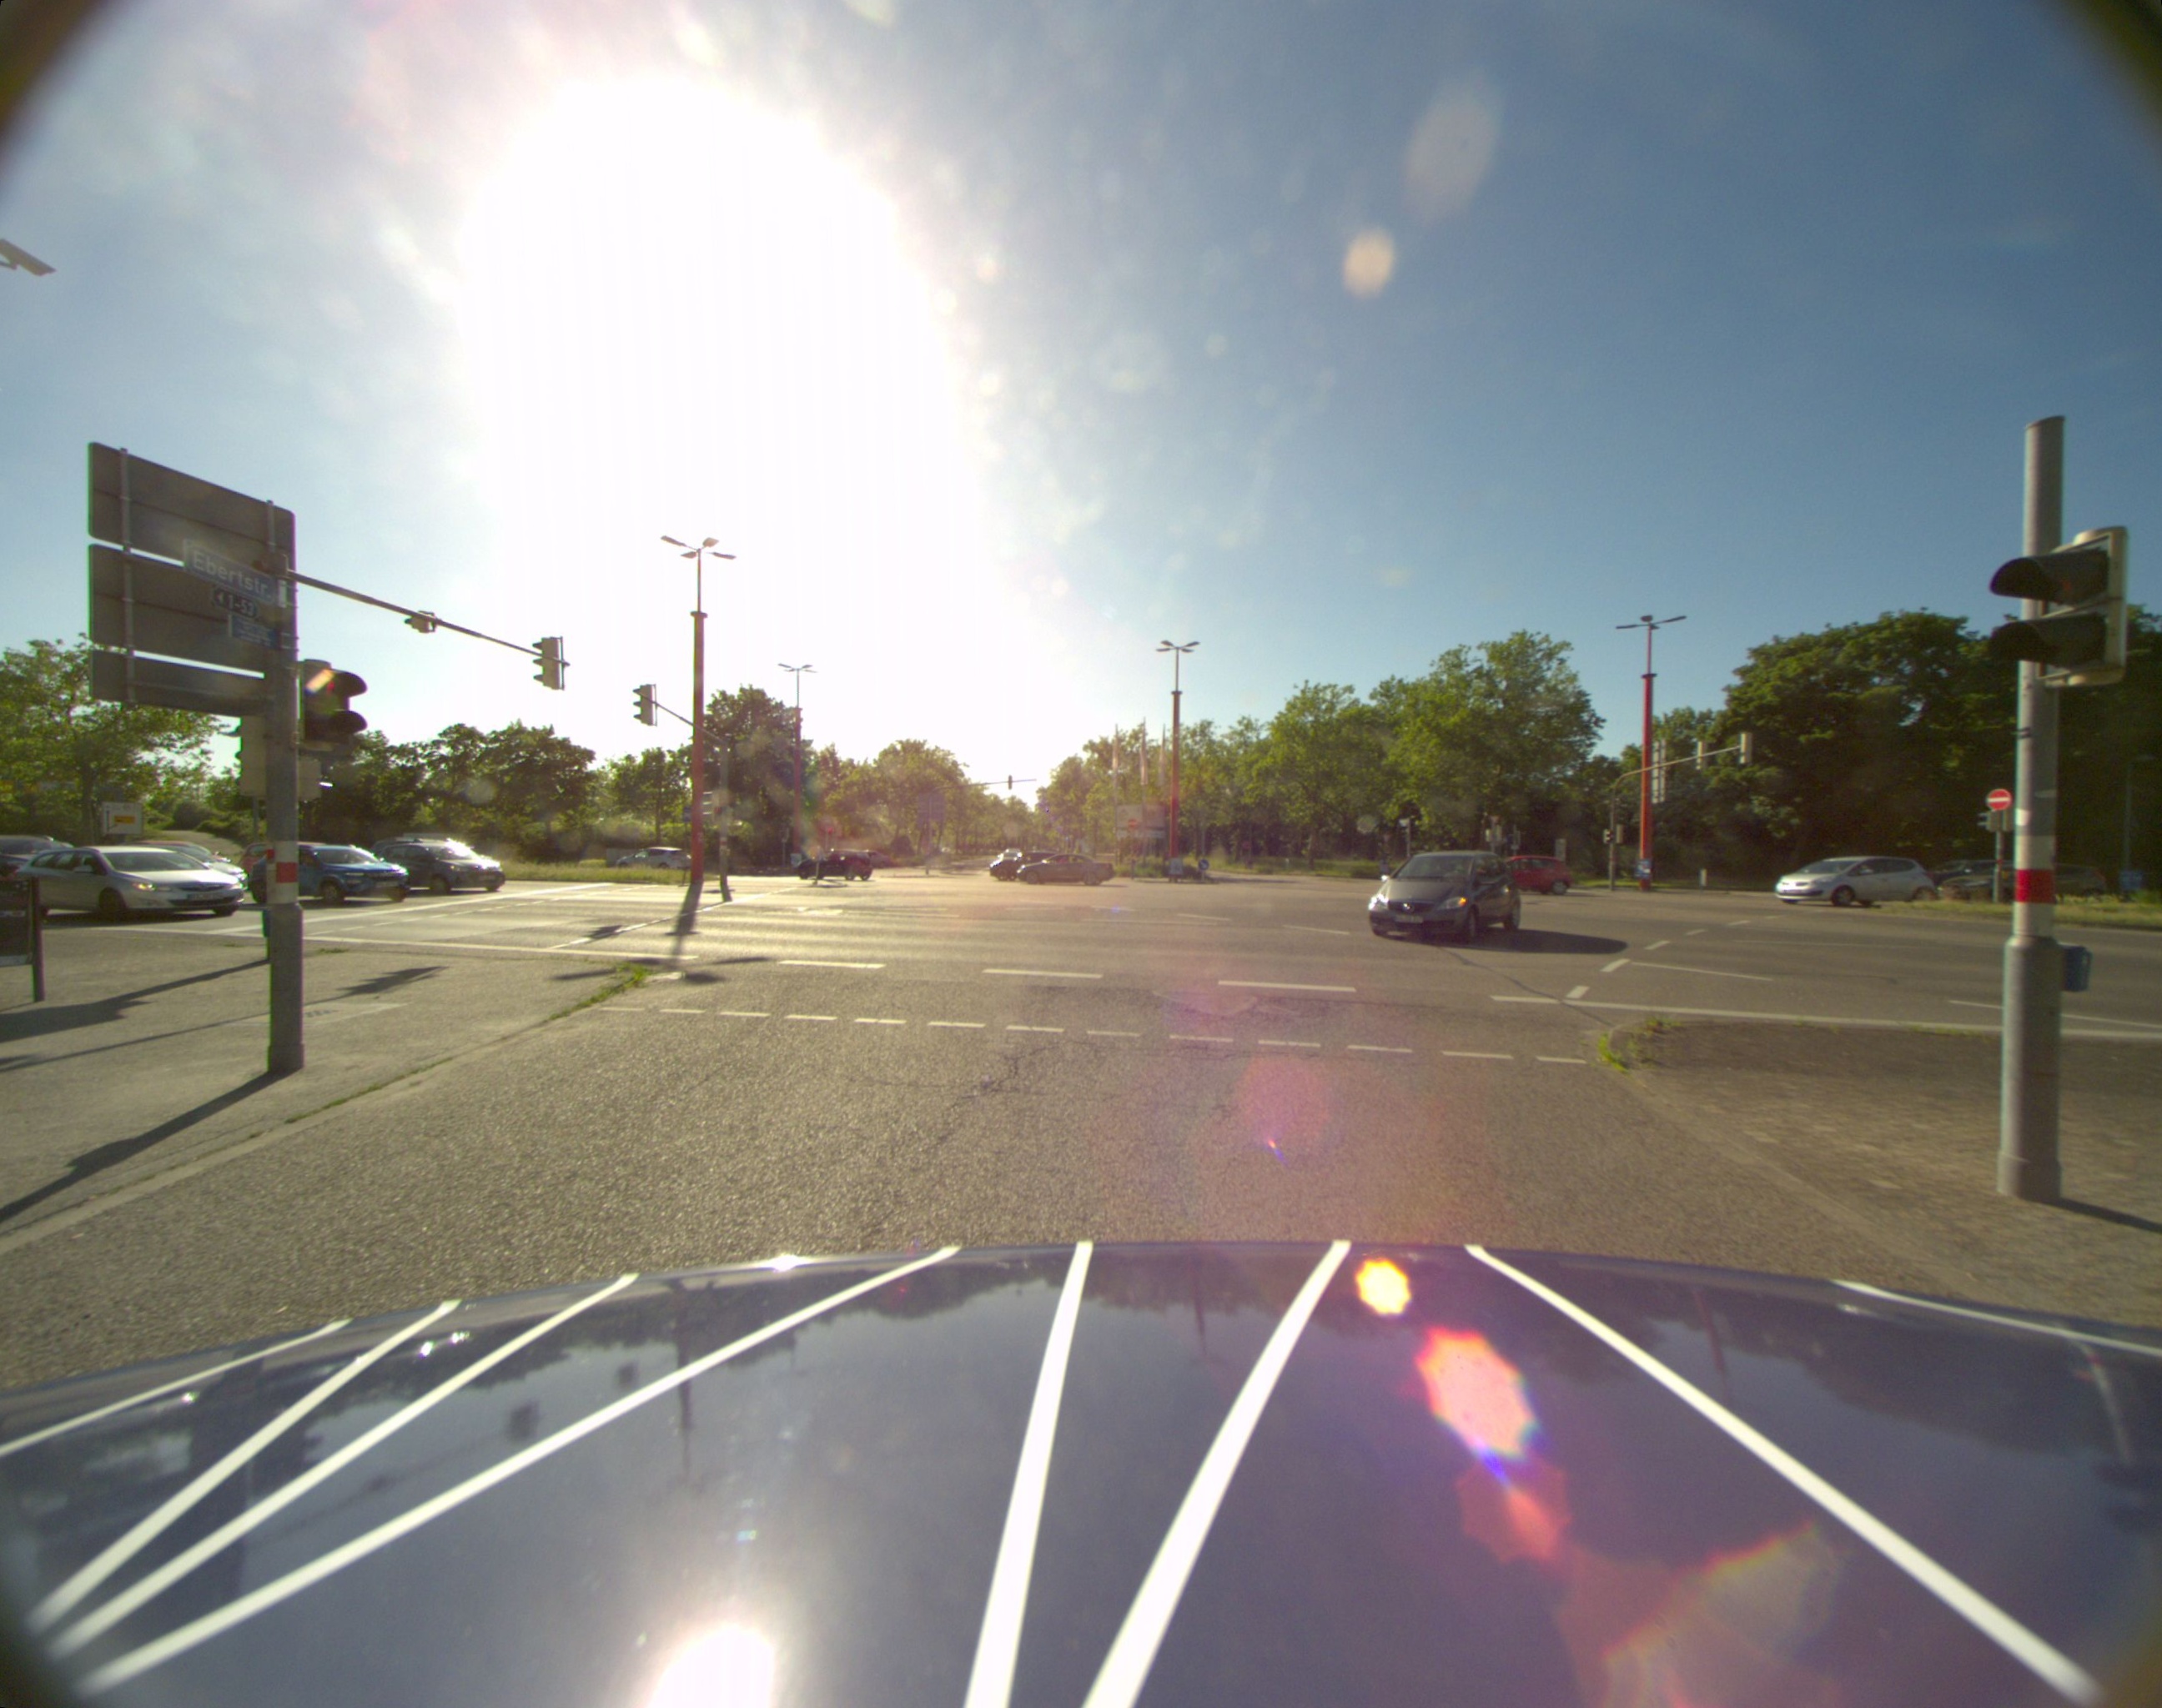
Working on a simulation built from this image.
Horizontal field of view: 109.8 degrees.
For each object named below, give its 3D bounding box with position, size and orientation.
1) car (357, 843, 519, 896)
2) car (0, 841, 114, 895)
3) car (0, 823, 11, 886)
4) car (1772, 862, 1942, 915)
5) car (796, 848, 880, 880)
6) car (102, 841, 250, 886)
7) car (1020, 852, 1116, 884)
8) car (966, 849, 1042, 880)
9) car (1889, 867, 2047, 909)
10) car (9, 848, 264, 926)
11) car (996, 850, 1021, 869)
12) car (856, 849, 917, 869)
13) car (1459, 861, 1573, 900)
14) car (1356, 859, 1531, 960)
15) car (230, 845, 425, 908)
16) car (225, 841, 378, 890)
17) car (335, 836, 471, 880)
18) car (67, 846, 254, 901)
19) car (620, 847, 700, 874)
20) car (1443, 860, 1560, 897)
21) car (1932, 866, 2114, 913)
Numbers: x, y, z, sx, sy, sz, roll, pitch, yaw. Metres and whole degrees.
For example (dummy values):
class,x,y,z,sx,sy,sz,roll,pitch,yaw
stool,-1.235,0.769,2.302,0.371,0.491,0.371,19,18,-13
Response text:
class,x,y,z,sx,sy,sz,roll,pitch,yaw
car,-19.708,0.435,23.340,3.992,1.473,1.802,1,2,15
car,-31.796,0.385,22.906,3.992,1.497,1.802,1,2,15
car,-38.386,0.011,24.914,5.183,2.075,2.094,1,2,15
car,24.761,1.077,24.324,3.903,1.579,1.704,1,0,-5
car,-11.689,0.460,36.620,3.531,1.421,1.615,1,0,12
car,-31.858,0.282,26.780,3.992,1.473,1.802,1,2,15
car,-0.553,0.607,34.151,3.992,1.361,1.802,1,0,14
car,-3.935,0.519,38.925,3.532,1.497,1.615,1,0,11
car,34.507,1.291,29.655,3.779,1.497,1.615,1,0,13
car,-20.106,0.631,16.224,4.277,1.473,1.802,1,2,15
car,-5.952,0.452,62.595,1.799,1.501,3.999,1,0,-1
car,-14.917,0.363,58.628,1.795,1.501,4.647,1,1,30
car,17.358,1.027,30.480,3.665,1.450,1.591,1,1,12
car,7.025,0.938,14.576,3.771,1.581,1.794,-1,2,-44
car,-19.612,0.524,19.824,3.992,1.473,1.802,1,2,15
car,-25.787,0.348,25.172,3.992,1.502,1.802,1,2,15
car,-24.823,0.109,27.868,3.992,1.502,1.802,1,2,15
car,-25.669,0.507,21.231,3.992,1.384,1.802,1,2,15
car,-23.839,0.354,43.101,3.859,1.407,1.615,1,0,13
car,18.661,1.056,33.903,4.239,1.501,1.802,1,0,12
car,33.078,1.226,26.802,3.778,1.501,1.615,1,0,15
